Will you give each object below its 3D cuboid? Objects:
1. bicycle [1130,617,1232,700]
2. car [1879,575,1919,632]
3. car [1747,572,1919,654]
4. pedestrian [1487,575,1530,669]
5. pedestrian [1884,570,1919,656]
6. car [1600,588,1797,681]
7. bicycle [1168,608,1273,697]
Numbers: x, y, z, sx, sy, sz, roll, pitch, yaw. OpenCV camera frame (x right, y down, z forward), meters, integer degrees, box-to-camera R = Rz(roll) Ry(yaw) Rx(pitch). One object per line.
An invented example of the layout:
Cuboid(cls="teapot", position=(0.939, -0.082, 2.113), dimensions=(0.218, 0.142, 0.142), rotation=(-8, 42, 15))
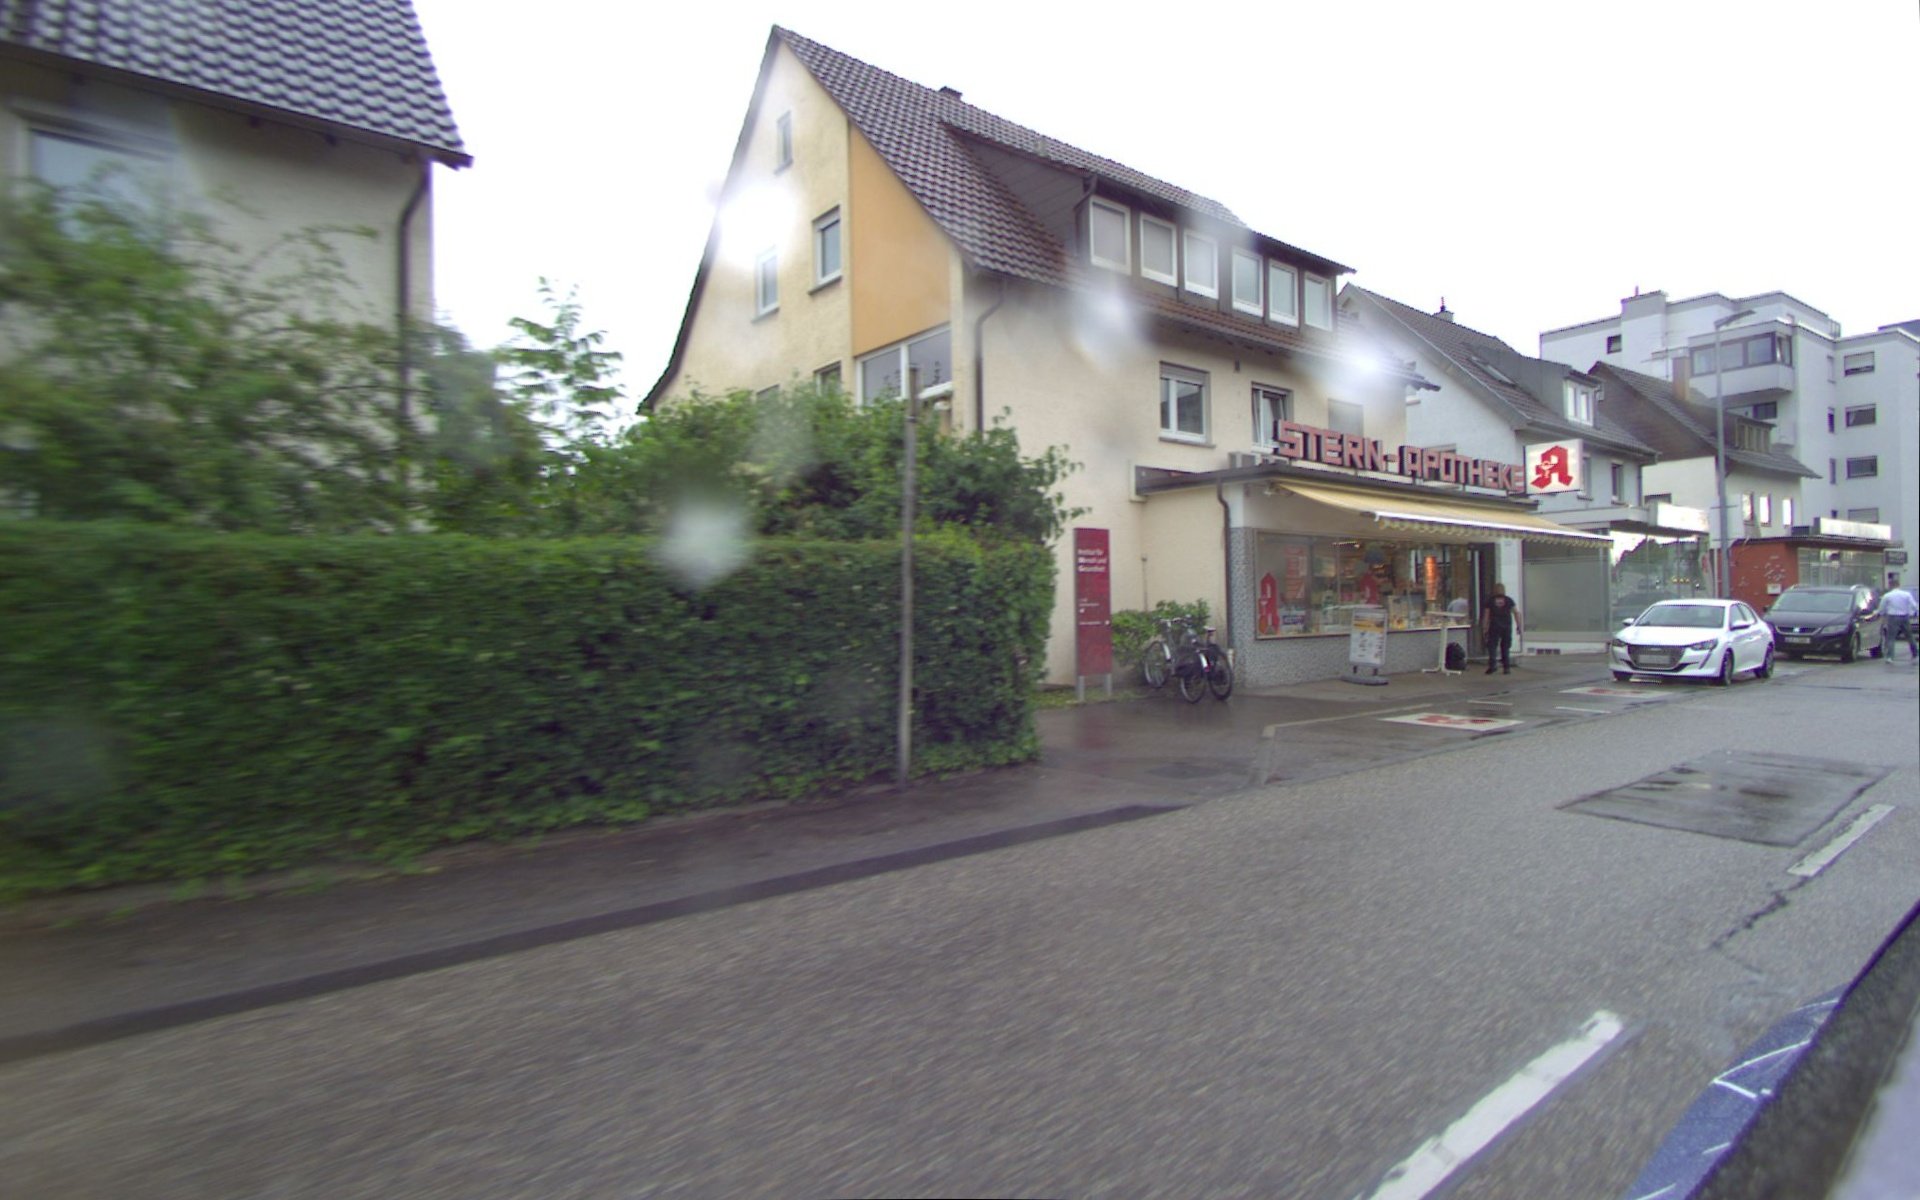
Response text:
Cuboid(cls="bicycle", position=(3.052, 0.784, 14.158), dimensions=(0.609, 0.944, 1.656), rotation=(0, 4, -19))
Cuboid(cls="car", position=(30.991, 0.074, 32.082), dimensions=(4.704, 1.663, 1.880), rotation=(-2, 2, -37))
Cuboid(cls="car", position=(20.897, 0.213, 24.162), dimensions=(4.871, 1.716, 2.042), rotation=(-2, 2, -36))
Cuboid(cls="pedestrian", position=(10.082, 0.393, 18.622), dimensions=(0.543, 1.700, 0.514), rotation=(-1, -1, 15))
Cuboid(cls="pedestrian", position=(21.518, 0.282, 22.880), dimensions=(0.635, 1.915, 0.624), rotation=(-1, -1, -2))
Cuboid(cls="car", position=(13.481, 0.535, 18.400), dimensions=(4.126, 1.466, 1.820), rotation=(-1, 1, -38))
Cuboid(cls="bicycle", position=(3.670, 0.713, 14.403), dimensions=(0.609, 1.060, 1.656), rotation=(0, 4, -19))
